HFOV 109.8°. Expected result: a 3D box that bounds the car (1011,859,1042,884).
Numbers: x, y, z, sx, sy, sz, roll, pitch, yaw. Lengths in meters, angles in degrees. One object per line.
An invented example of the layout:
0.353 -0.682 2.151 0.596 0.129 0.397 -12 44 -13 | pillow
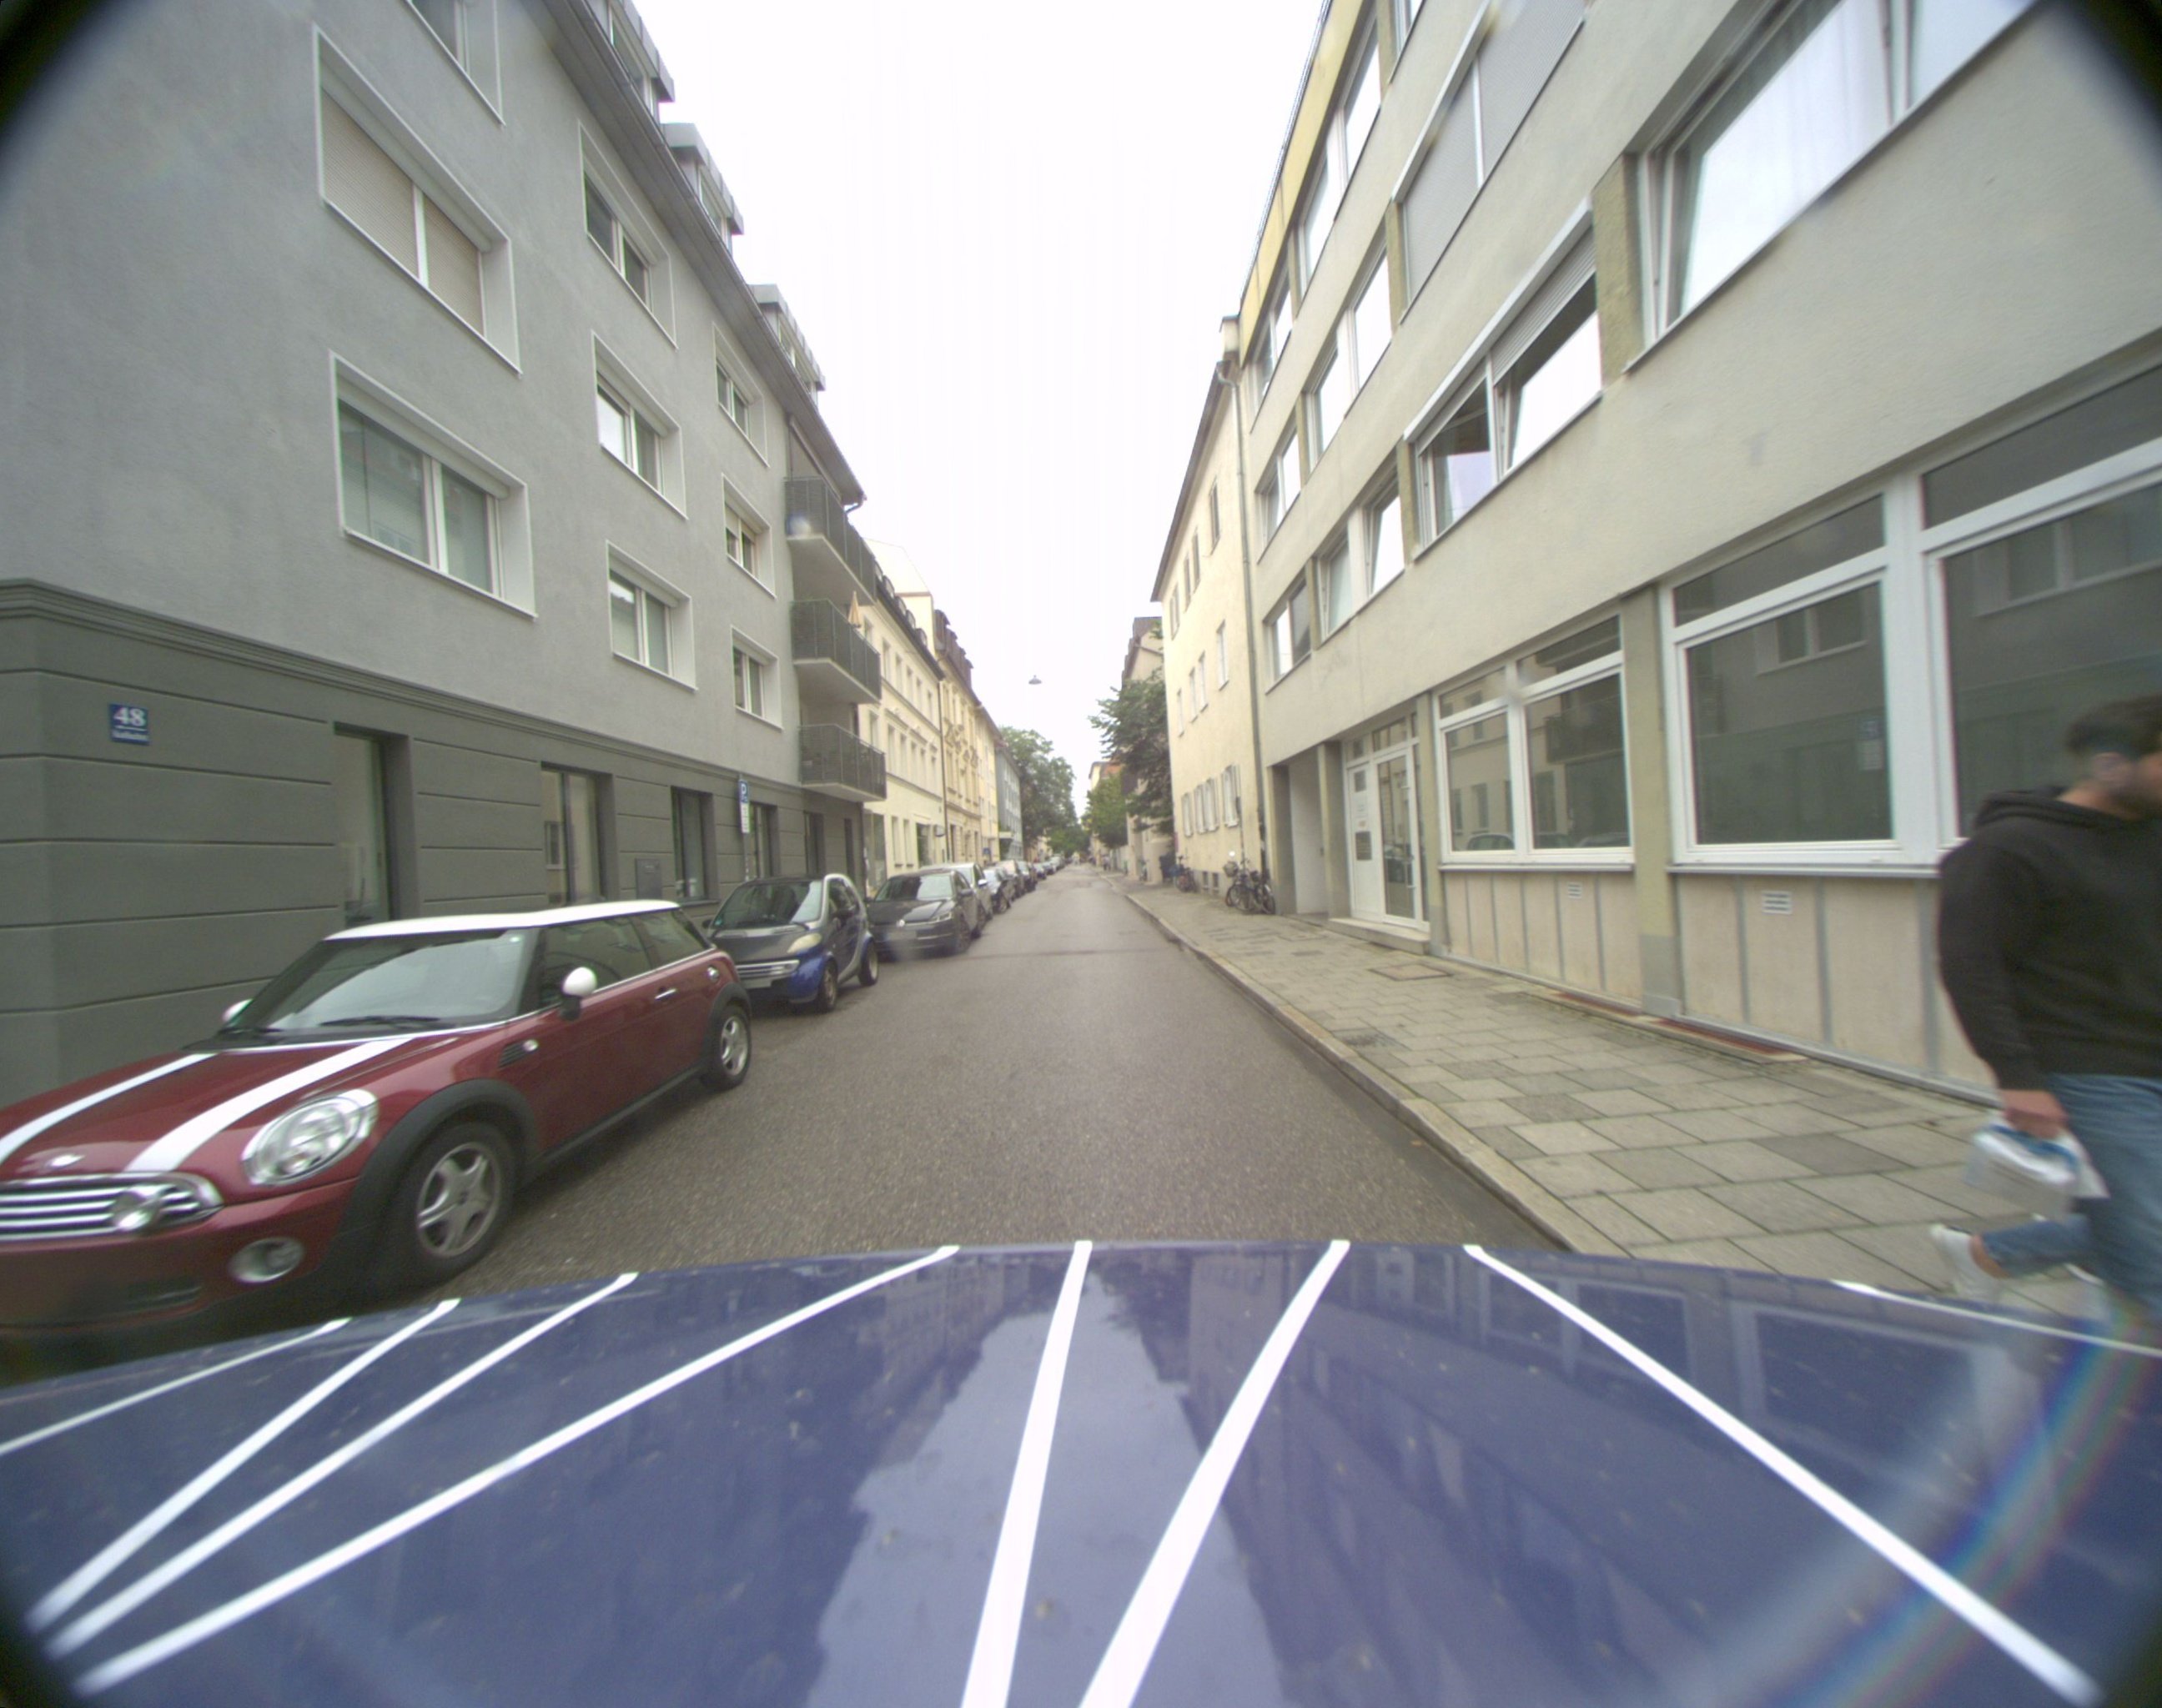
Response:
-3.545 1.106 50.241 1.680 1.484 3.853 -3 0 0 | car

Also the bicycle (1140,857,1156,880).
3.613 0.785 41.120 0.545 1.154 1.882 -5 0 -2 | bicycle

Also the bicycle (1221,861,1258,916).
3.705 0.785 17.911 0.459 1.153 1.605 -6 1 1 | bicycle

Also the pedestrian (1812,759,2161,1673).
2.367 0.673 1.607 0.720 1.755 0.838 -5 1 0 | pedestrian

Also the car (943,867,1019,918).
-3.075 1.152 24.145 1.812 1.355 3.945 -3 0 1 | car

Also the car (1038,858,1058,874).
-3.374 1.221 77.693 1.846 1.420 4.263 -7 0 -2 | car

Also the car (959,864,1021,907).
-3.347 1.117 28.681 1.804 1.377 4.348 -3 0 -1 | car

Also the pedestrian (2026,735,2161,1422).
3.103 0.565 1.703 0.720 1.786 0.917 -5 1 0 | pedestrian

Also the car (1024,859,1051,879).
-3.416 1.182 60.304 1.830 1.327 4.508 -7 0 -1 | car

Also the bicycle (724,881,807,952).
-5.663 1.088 13.774 0.570 1.085 1.996 -3 0 1 | bicycle

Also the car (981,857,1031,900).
-3.263 1.033 33.627 1.680 1.651 4.512 -3 0 0 | car

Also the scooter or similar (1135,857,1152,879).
3.565 0.787 43.185 0.553 1.137 1.359 -6 0 17 | scooter or similar

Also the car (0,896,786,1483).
-3.365 1.134 4.297 1.750 1.453 4.149 -4 0 -1 | car

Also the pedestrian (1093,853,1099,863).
2.527 0.739 132.249 0.920 1.742 1.066 -3 0 -1 | pedestrian

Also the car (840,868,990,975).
-2.887 1.109 14.239 1.844 1.519 4.292 -4 0 -1 | car

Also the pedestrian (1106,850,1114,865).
3.041 0.348 79.660 0.624 1.570 0.714 -4 1 0 | pedestrian

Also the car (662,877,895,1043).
-3.469 1.129 9.336 1.525 1.502 3.202 -4 0 -1 | car

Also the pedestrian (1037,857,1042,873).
-5.434 1.442 99.760 0.581 1.966 0.455 -4 1 0 | pedestrian

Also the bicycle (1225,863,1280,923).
3.628 0.800 16.195 0.563 1.153 1.720 -4 1 -6 | bicycle

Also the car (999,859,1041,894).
-3.106 1.090 39.250 1.706 1.597 4.684 -3 0 0 | car

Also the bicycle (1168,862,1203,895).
3.558 0.830 26.054 0.705 0.978 1.822 -7 1 -4 | bicycle

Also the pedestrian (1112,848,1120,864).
3.689 0.232 79.697 0.615 1.611 0.687 -6 1 0 | pedestrian

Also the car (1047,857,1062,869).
-3.573 1.234 102.217 1.860 1.366 4.509 -5 0 -2 | car

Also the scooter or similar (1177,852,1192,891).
3.778 0.623 27.784 0.318 1.368 1.239 -2 1 0 | scooter or similar

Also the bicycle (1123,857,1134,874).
3.391 0.809 54.762 0.539 1.132 1.917 -5 0 -1 | bicycle

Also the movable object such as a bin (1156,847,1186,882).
4.234 0.489 35.768 1.177 1.433 1.249 -8 -1 6 | movable object such as a bin

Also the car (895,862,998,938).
-3.199 1.034 18.935 1.880 1.561 4.315 -2 0 -2 | car

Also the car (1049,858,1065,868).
-3.415 1.211 107.581 1.998 1.306 4.593 -3 0 1 | car

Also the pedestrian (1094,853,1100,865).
2.311 0.805 112.740 0.766 1.742 0.970 -3 0 -1 | pedestrian
